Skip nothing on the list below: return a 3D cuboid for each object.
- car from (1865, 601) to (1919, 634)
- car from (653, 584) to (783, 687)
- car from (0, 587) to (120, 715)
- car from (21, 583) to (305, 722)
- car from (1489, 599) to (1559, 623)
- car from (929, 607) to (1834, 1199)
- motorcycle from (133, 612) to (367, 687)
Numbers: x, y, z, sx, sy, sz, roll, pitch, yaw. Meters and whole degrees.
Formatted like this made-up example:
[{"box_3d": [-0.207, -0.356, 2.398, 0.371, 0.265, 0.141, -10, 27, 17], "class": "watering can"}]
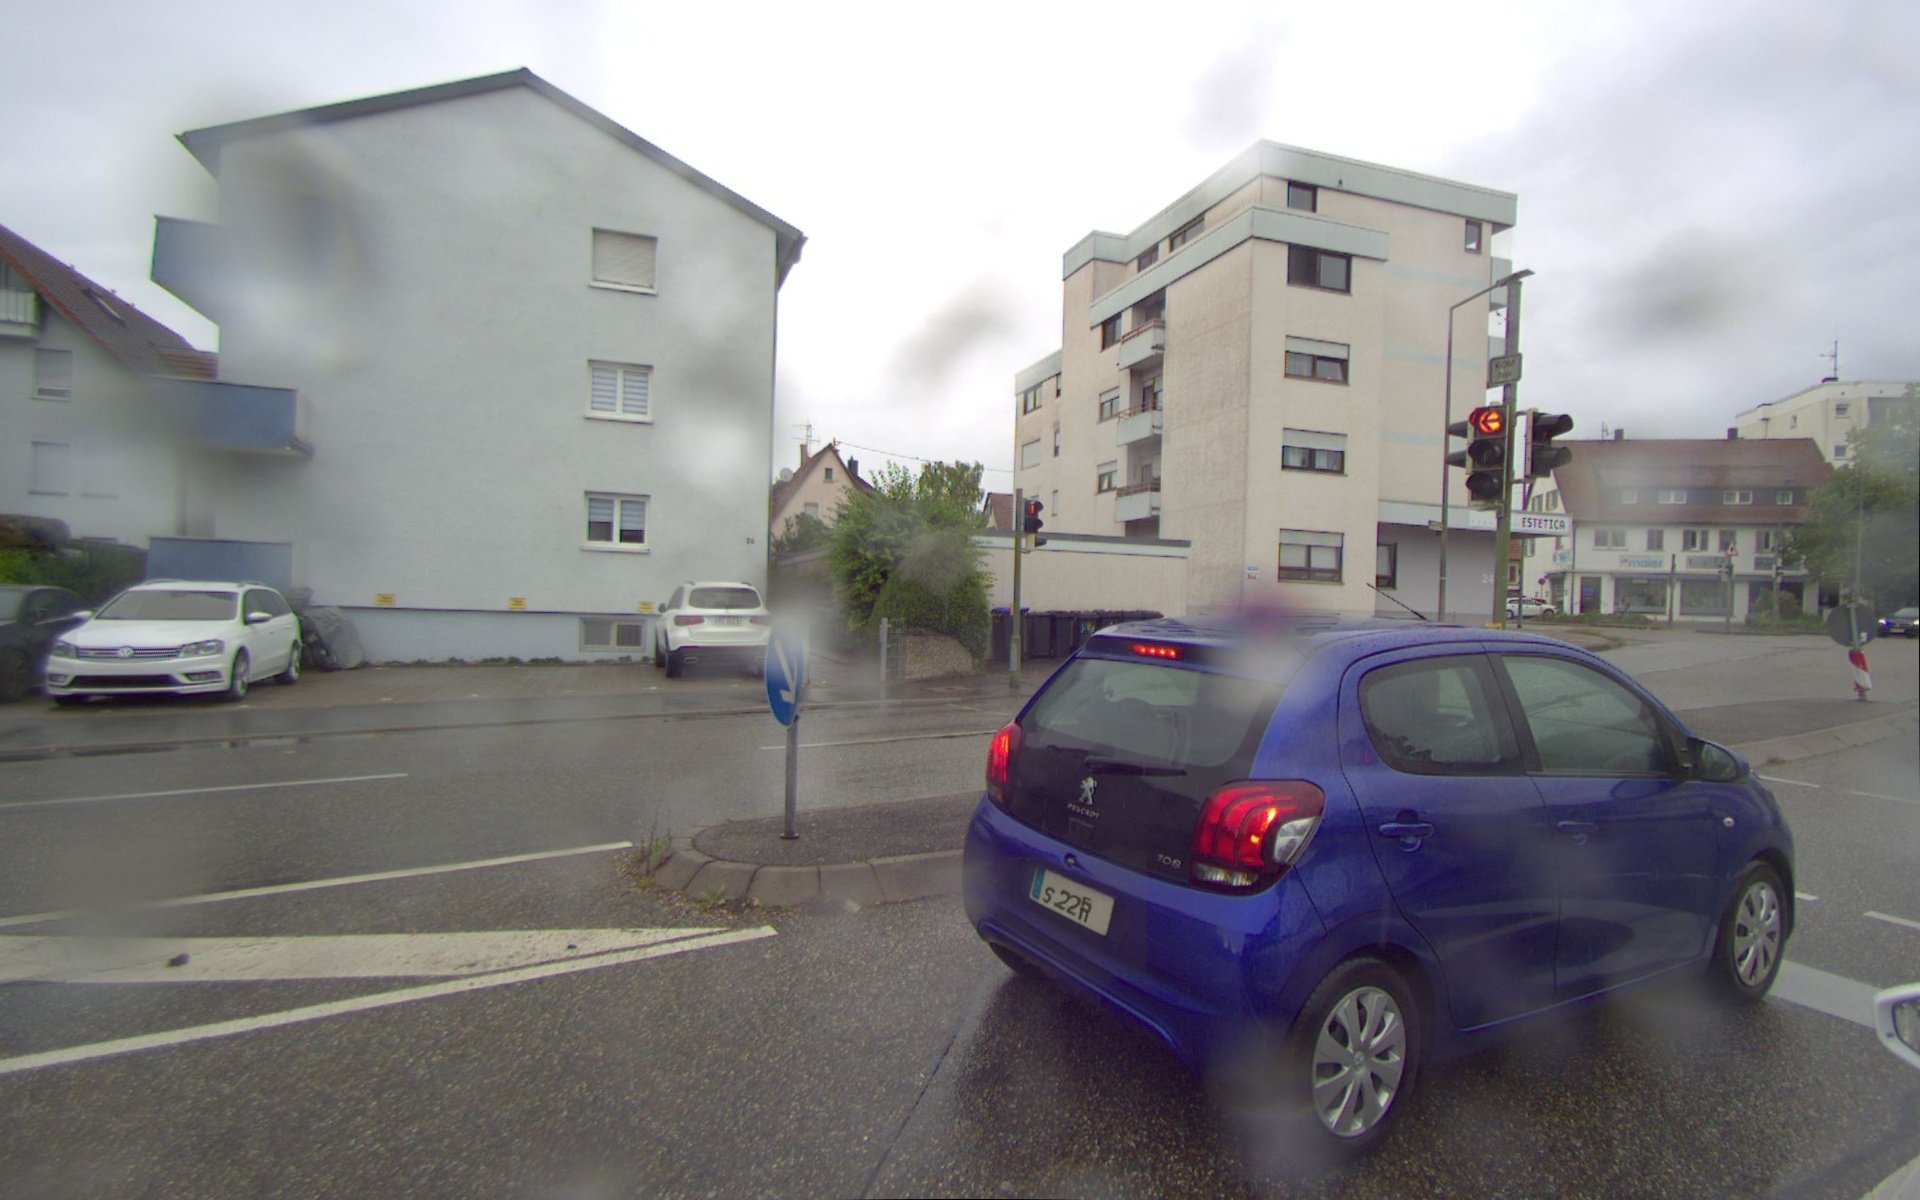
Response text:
[{"box_3d": [43.471, 0.803, 46.138, 3.786, 1.439, 1.770, 0, 0, -31], "class": "car"}, {"box_3d": [-4.607, 0.584, 18.631, 1.909, 1.658, 4.445, 0, 0, -19], "class": "car"}, {"box_3d": [-12.262, 0.567, 12.388, 1.878, 1.430, 3.976, 0, 0, -24], "class": "car"}, {"box_3d": [-10.051, 0.571, 13.085, 1.878, 1.493, 4.208, 0, 0, -24], "class": "car"}, {"box_3d": [39.173, 0.740, 69.828, 3.887, 1.593, 1.873, 1, 1, 17], "class": "car"}, {"box_3d": [1.673, 0.769, 3.858, 3.231, 1.429, 1.571, 1, 1, -30], "class": "car"}, {"box_3d": [-11.815, 0.777, 16.850, 0.864, 1.115, 3.113, 1, 1, 43], "class": "motorcycle"}]
